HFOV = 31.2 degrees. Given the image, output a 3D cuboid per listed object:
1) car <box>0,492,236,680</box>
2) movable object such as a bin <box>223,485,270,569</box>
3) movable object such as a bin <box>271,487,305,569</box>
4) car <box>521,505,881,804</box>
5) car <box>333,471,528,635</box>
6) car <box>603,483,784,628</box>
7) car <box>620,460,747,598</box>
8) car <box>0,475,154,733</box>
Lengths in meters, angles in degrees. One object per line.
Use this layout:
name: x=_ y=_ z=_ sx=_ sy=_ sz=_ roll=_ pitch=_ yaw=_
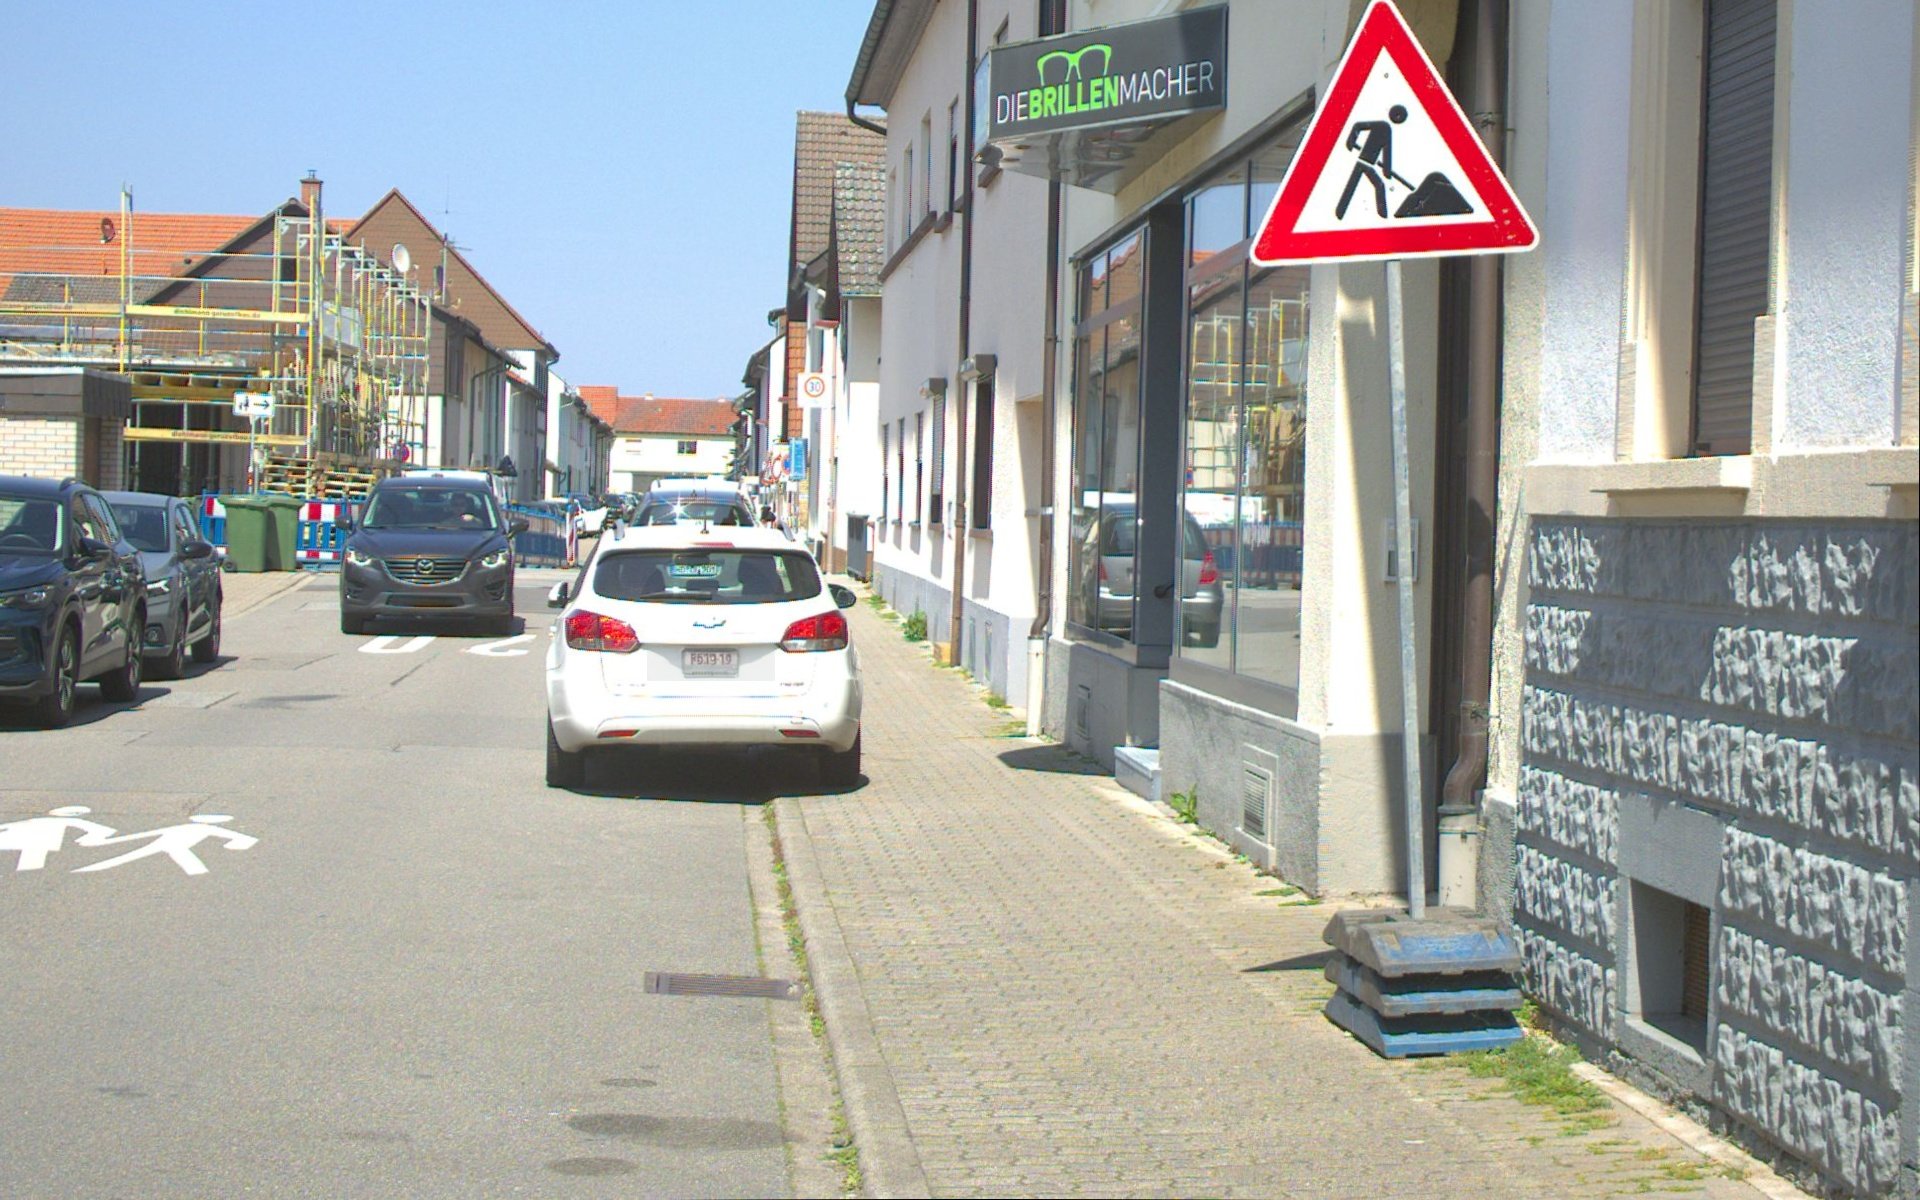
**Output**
car: x=-7.134 y=-0.161 z=29.335 sx=1.436 sy=1.469 sz=3.787 roll=1 pitch=1 yaw=-6
movable object such as a bin: x=-10.045 y=-1.029 z=48.408 sx=0.621 sy=1.151 sz=0.677 roll=1 pitch=2 yaw=-11
movable object such as a bin: x=-9.567 y=-1.023 z=48.934 sx=0.431 sy=1.151 sz=0.364 roll=1 pitch=2 yaw=-14
car: x=-1.582 y=0.237 z=20.603 sx=1.886 sy=1.536 sz=4.244 roll=2 pitch=2 yaw=-5
car: x=-5.803 y=-0.555 z=38.080 sx=1.881 sy=1.662 sz=4.154 roll=2 pitch=2 yaw=-6
car: x=-3.175 y=-0.567 z=40.355 sx=1.884 sy=1.550 sz=3.896 roll=-2 pitch=2 yaw=-7
car: x=-3.652 y=-0.969 z=45.506 sx=1.564 sy=1.607 sz=3.544 roll=2 pitch=4 yaw=-5
car: x=-6.828 y=-0.059 z=23.915 sx=1.826 sy=1.625 sz=4.218 roll=2 pitch=2 yaw=-6
